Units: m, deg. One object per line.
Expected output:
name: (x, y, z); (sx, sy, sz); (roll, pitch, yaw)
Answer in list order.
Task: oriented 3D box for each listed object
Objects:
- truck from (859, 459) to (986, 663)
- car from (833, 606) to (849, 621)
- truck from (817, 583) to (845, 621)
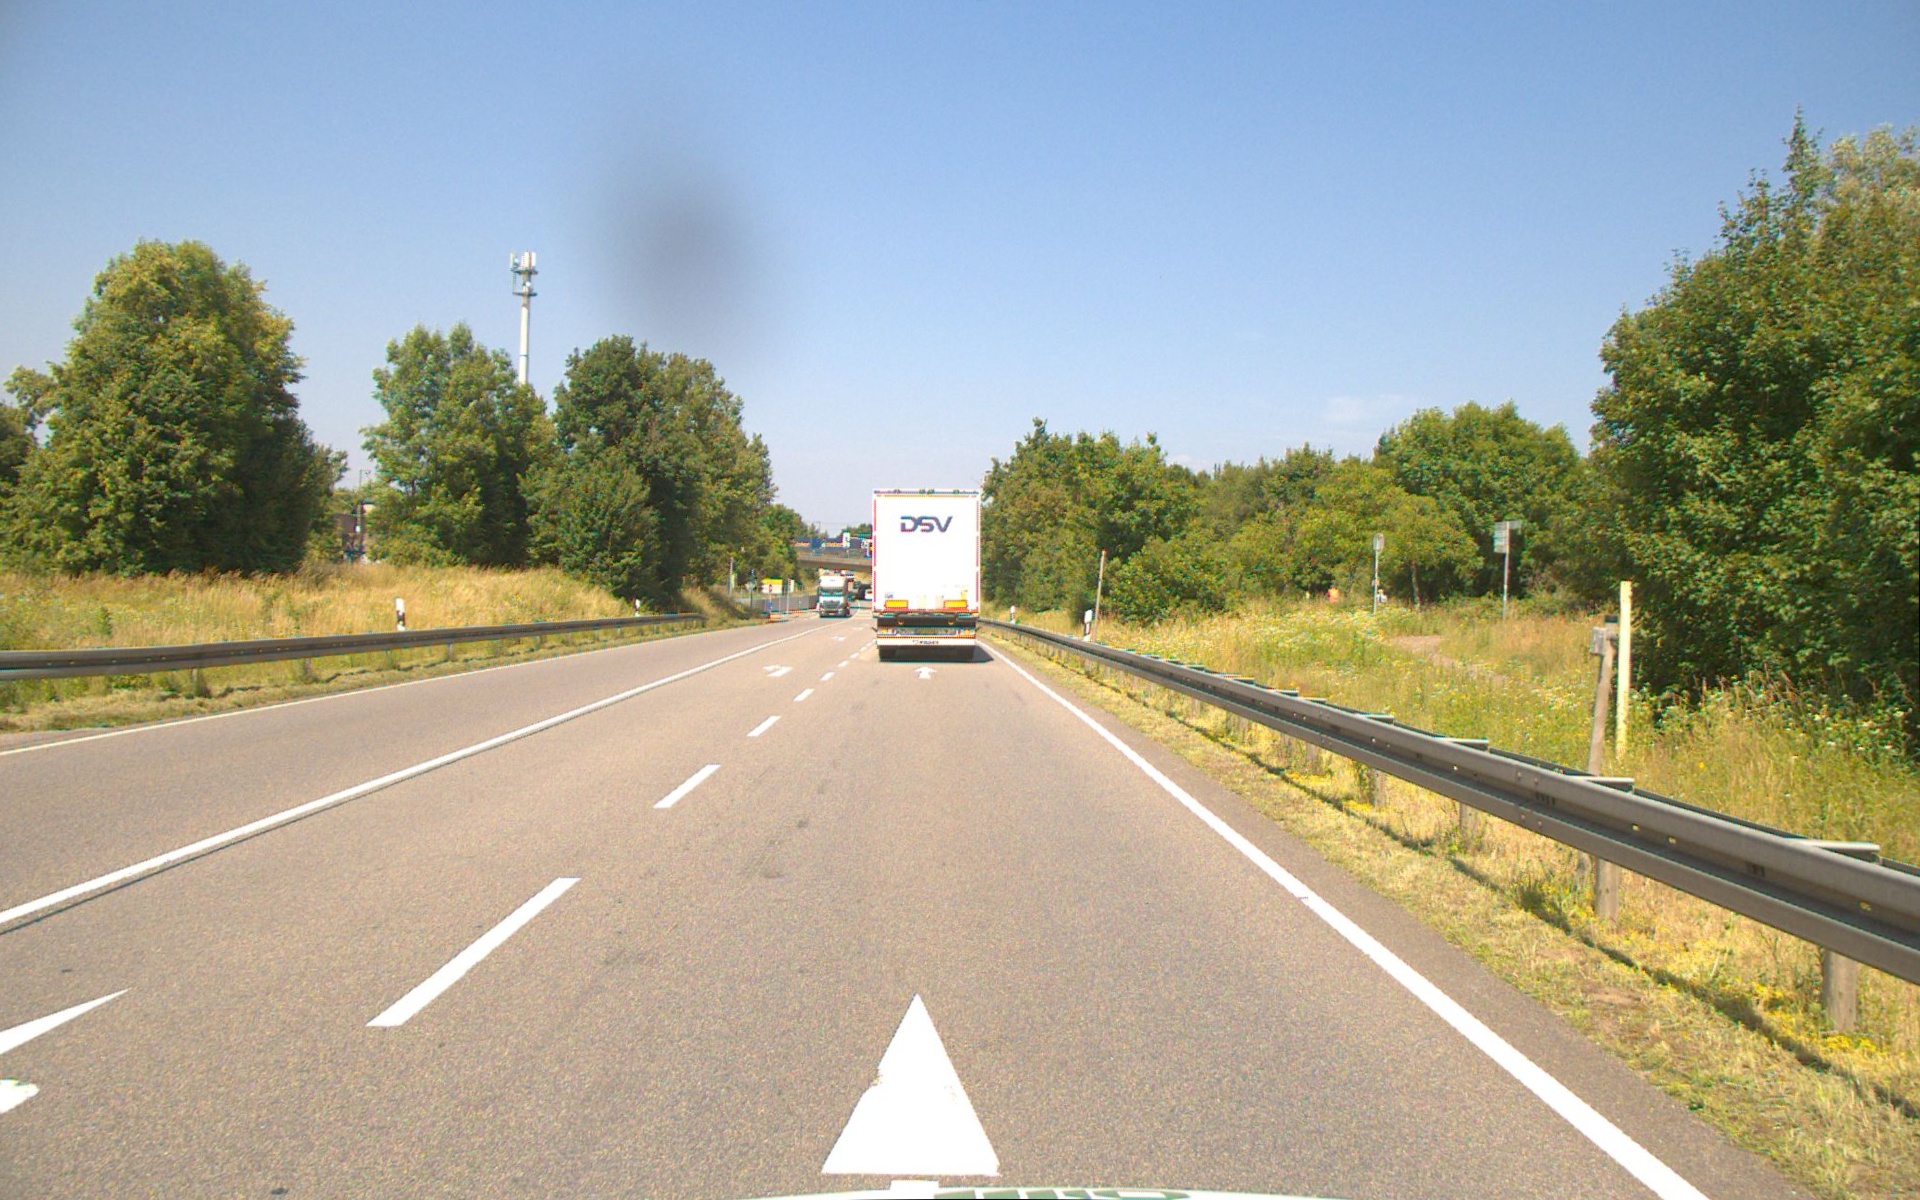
truck: (-0.937, -0.874, 42.903); (2.890, 4.648, 9.860); (1, 0, -1)
car: (-13.439, 1.496, 187.244); (1.712, 1.655, 3.701); (0, 0, -3)
truck: (-13.178, 0.180, 169.530); (2.306, 3.815, 12.619); (0, 0, -2)
